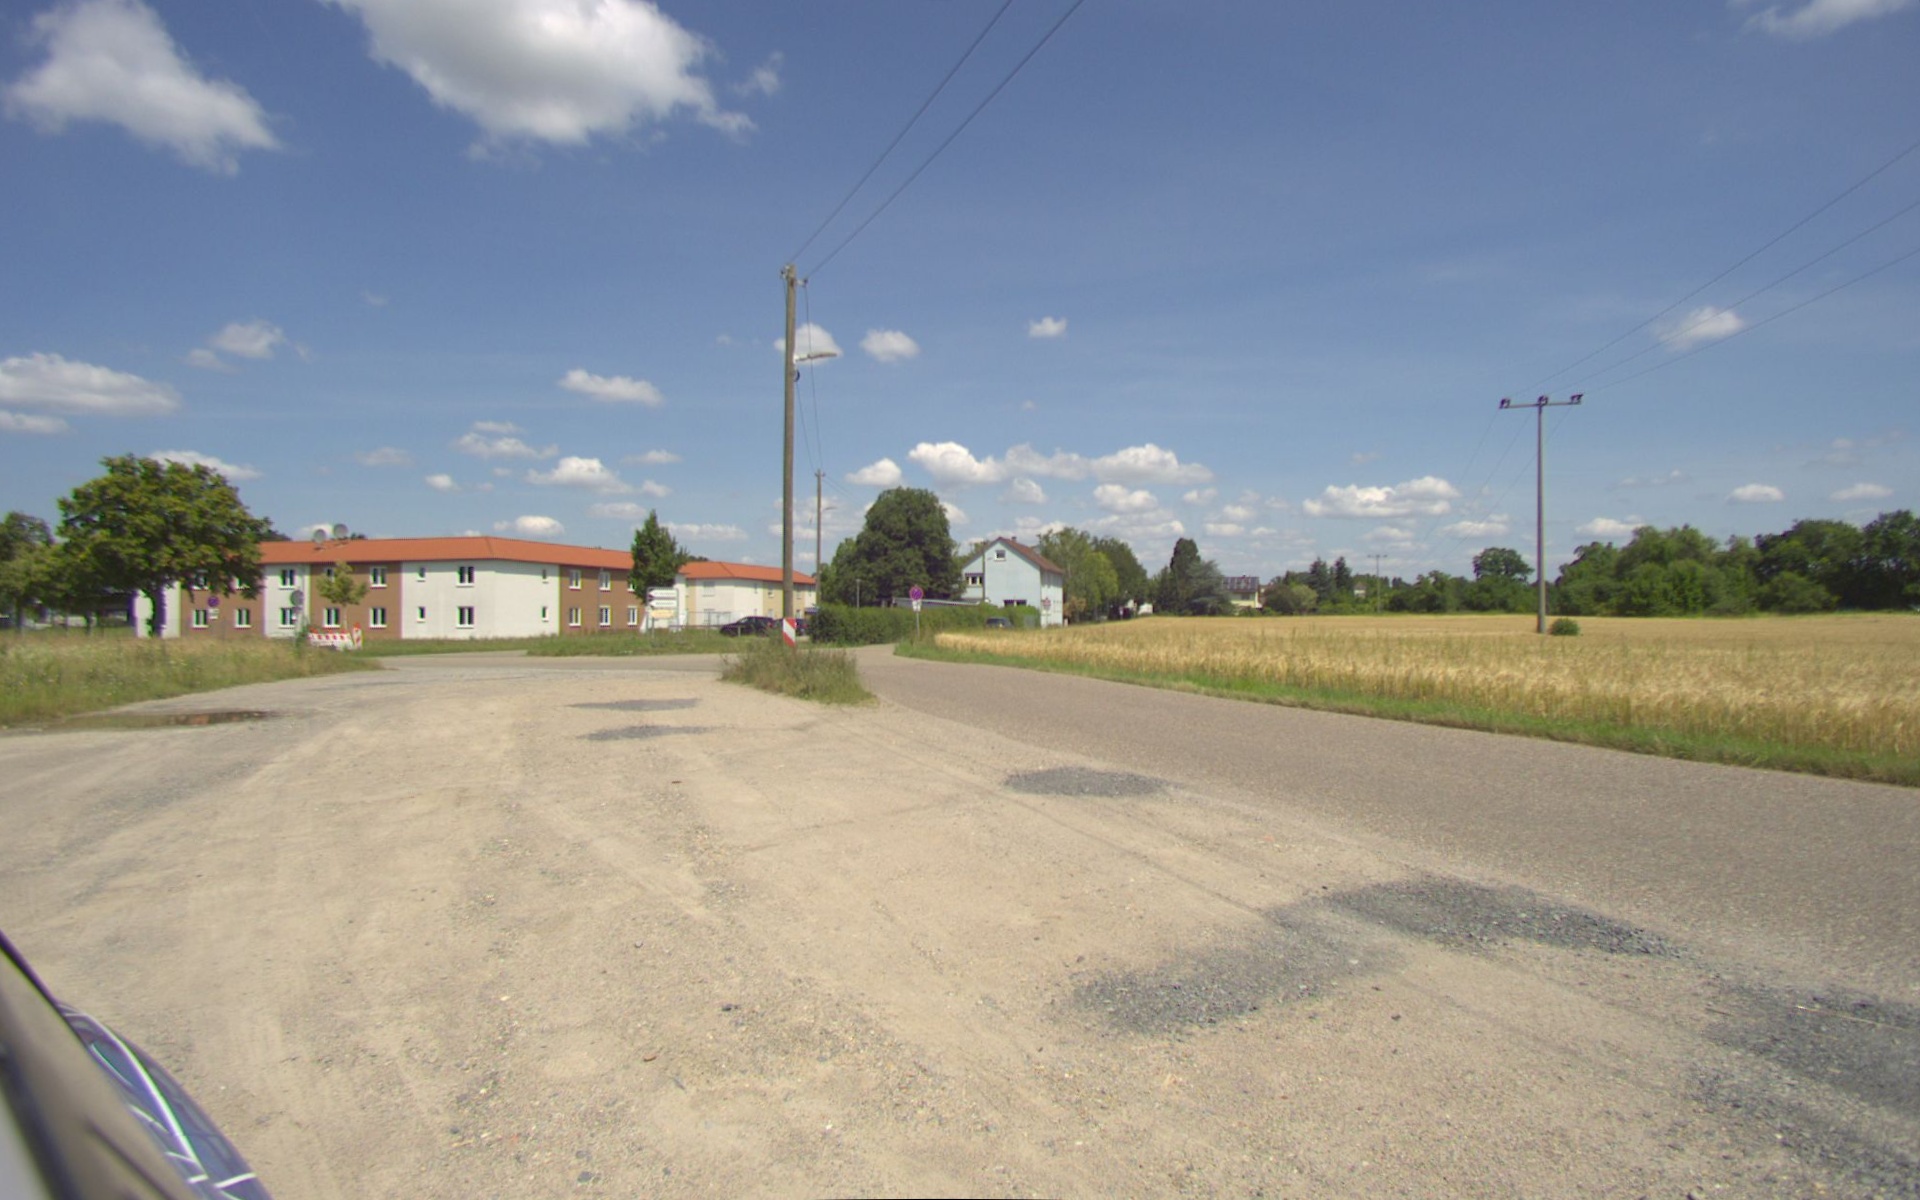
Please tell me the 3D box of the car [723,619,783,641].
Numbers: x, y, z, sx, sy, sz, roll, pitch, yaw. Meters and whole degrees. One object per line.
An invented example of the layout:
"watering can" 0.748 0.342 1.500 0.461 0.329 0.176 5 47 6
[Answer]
"car" -15.986 2.293 78.042 4.107 1.627 1.991 0 -2 13

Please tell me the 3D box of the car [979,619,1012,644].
"car" 2.742 2.349 76.578 1.732 1.692 4.238 -1 0 12

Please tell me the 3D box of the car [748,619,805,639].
"car" -14.804 2.338 81.783 4.107 1.627 1.991 0 -2 13
